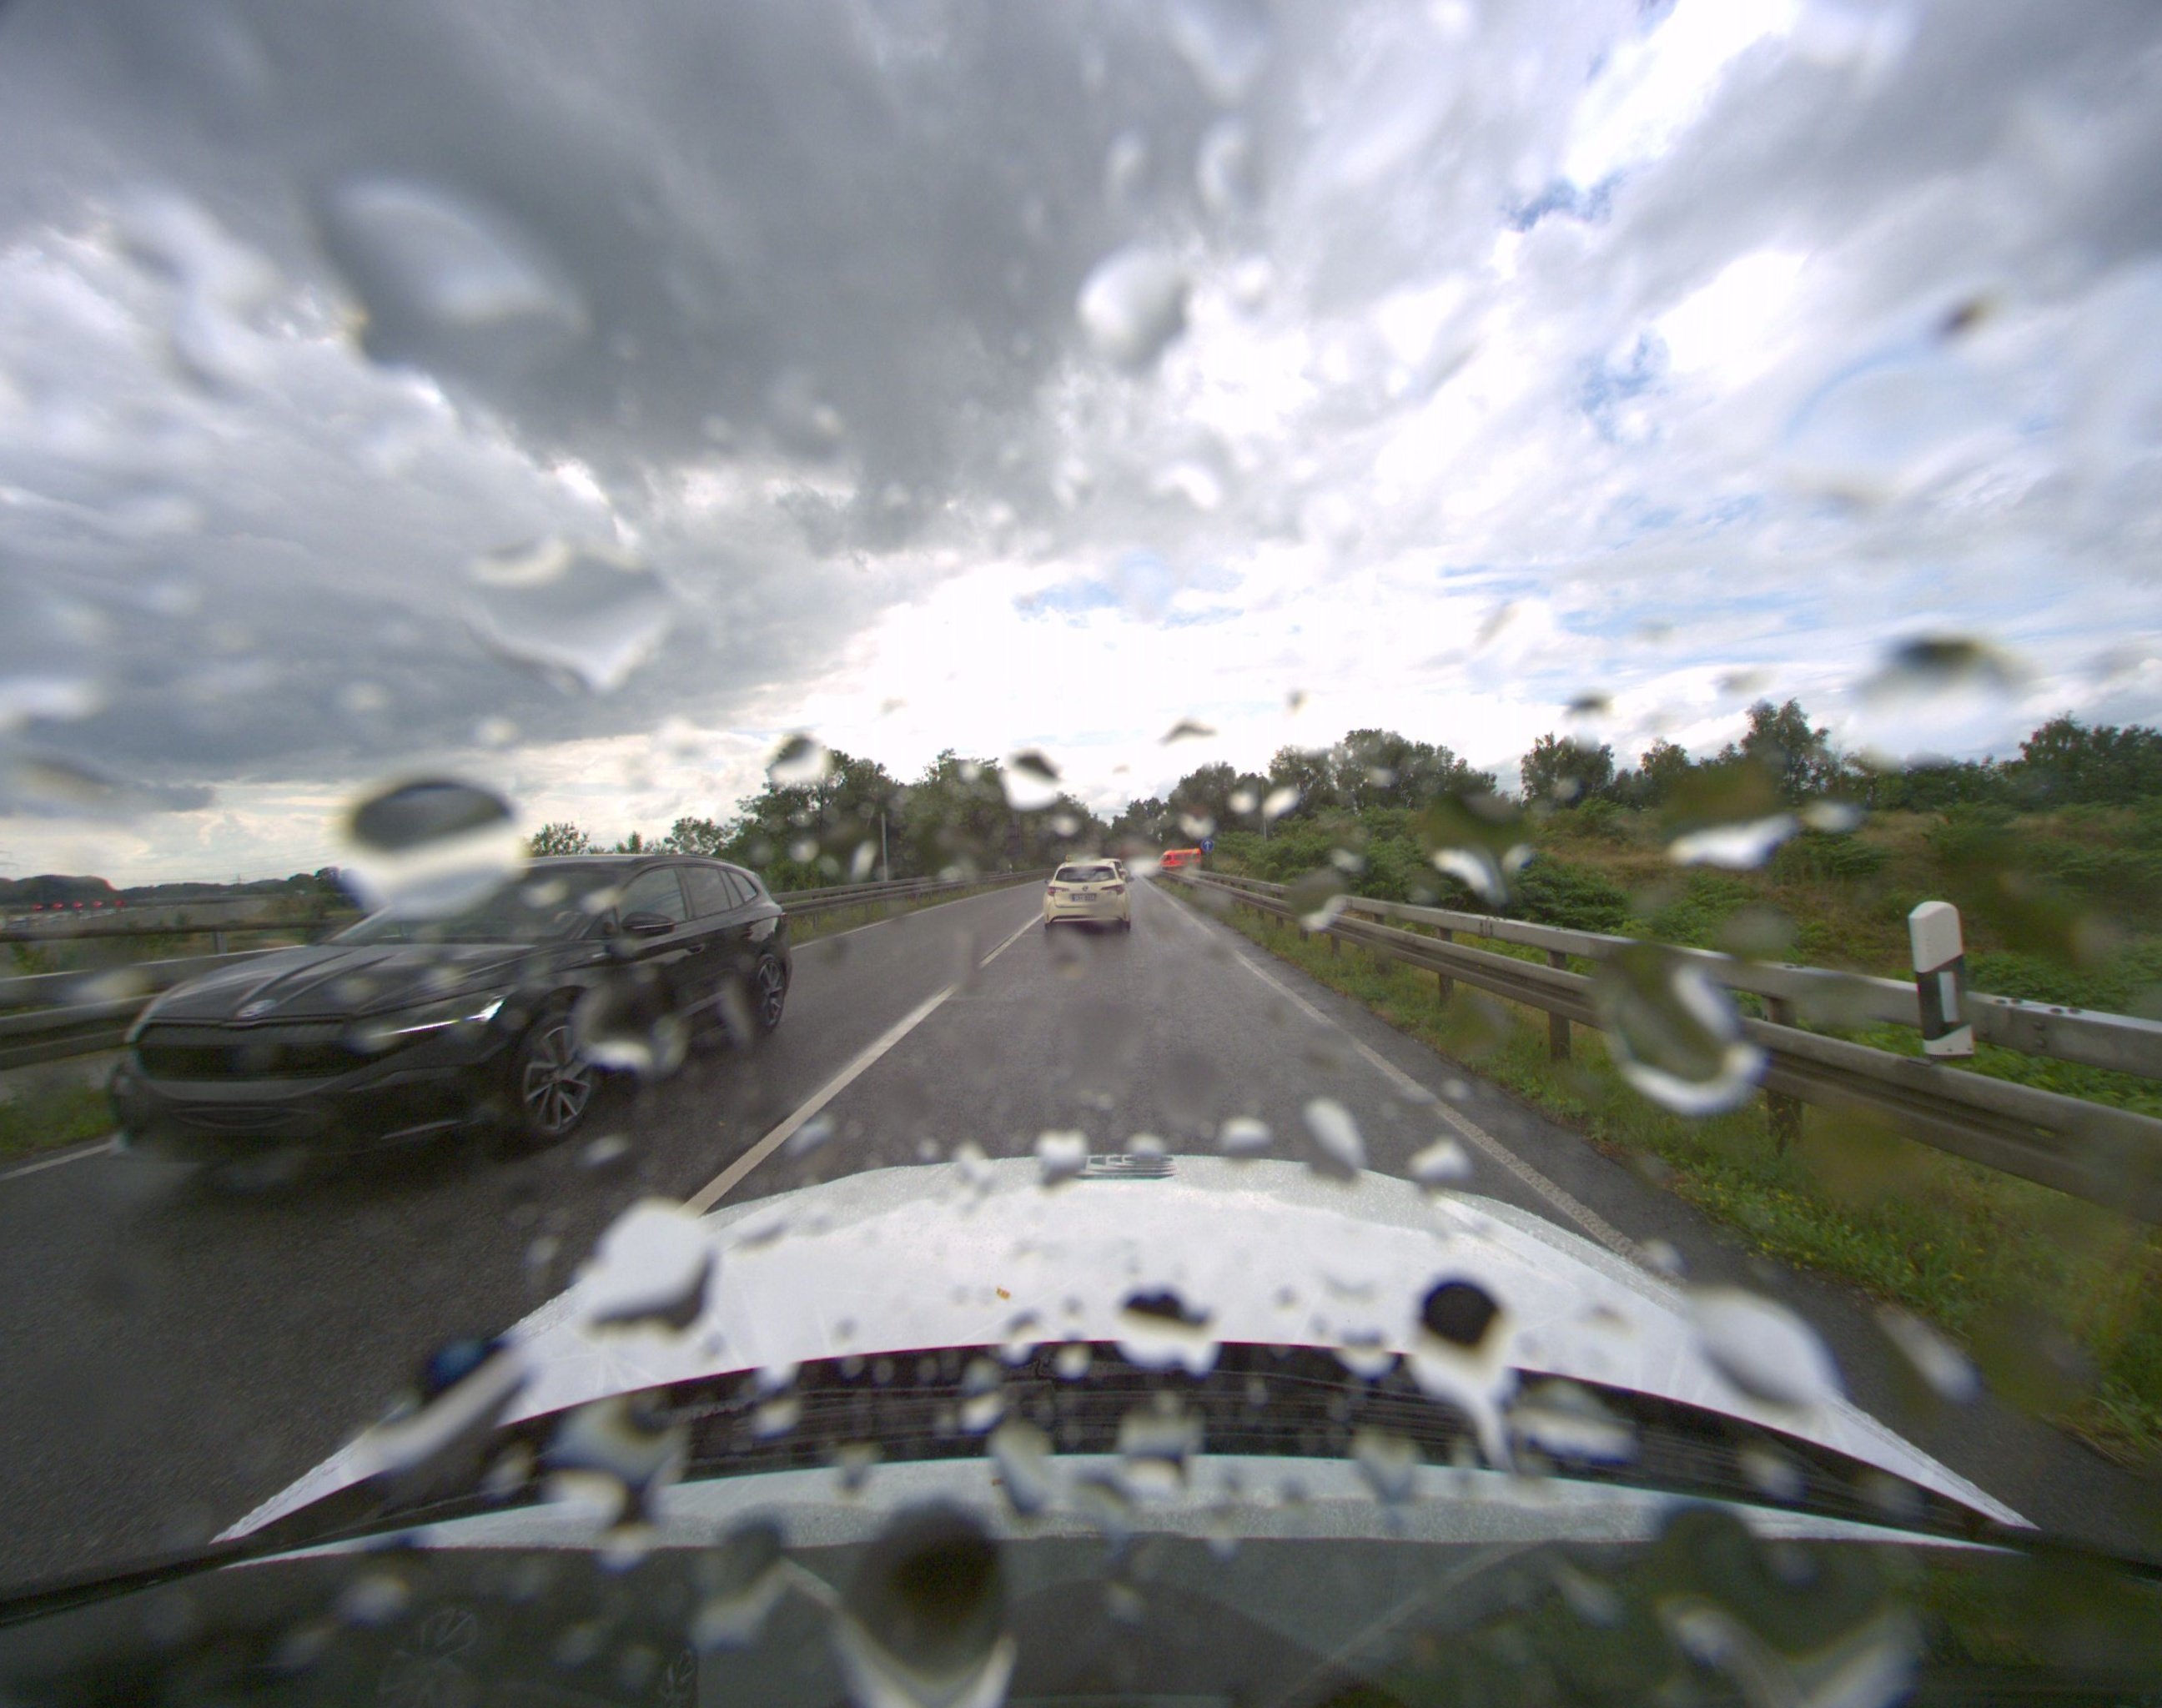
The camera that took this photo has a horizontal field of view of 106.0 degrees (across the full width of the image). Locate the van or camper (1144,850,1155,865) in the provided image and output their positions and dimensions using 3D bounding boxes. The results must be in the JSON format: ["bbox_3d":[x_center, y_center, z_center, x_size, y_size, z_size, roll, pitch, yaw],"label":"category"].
[{"bbox_3d":[16.835,0.914,200.022,2.323,3.562,6.311,-1,0,3],"label":"van or camper"}]

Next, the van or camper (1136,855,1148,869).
[{"bbox_3d":[13.004,1.697,174.257,2.323,2.864,6.311,-1,0,3],"label":"van or camper"}]

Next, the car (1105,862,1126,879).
[{"bbox_3d":[3.154,1.520,75.971,1.848,1.443,4.172,-1,1,1],"label":"car"}]

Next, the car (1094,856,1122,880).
[{"bbox_3d":[1.819,0.927,55.533,1.848,1.443,4.172,-1,1,1],"label":"car"}]

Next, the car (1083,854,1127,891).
[{"bbox_3d":[1.077,0.786,36.601,1.848,1.443,4.172,-1,1,1],"label":"car"}]

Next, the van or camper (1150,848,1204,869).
[{"bbox_3d":[10.824,0.485,92.188,5.685,2.241,2.011,-1,0,-13],"label":"van or camper"}]

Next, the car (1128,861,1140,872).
[{"bbox_3d":[8.175,1.923,125.356,1.845,1.443,4.177,-1,0,5],"label":"car"}]

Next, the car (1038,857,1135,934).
[{"bbox_3d":[0.156,0.814,17.911,1.848,1.394,4.172,-1,1,1],"label":"car"}]

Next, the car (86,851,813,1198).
[{"bbox_3d":[-3.605,0.773,5.878,1.773,1.561,4.303,-1,0,2],"label":"car"}]

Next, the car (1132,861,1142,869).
[{"bbox_3d":[10.513,2.035,153.006,1.845,1.443,4.177,-1,0,5],"label":"car"}]

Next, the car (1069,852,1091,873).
[{"bbox_3d":[-0.068,0.861,85.524,1.985,2.128,4.898,-1,0,2],"label":"car"}]
